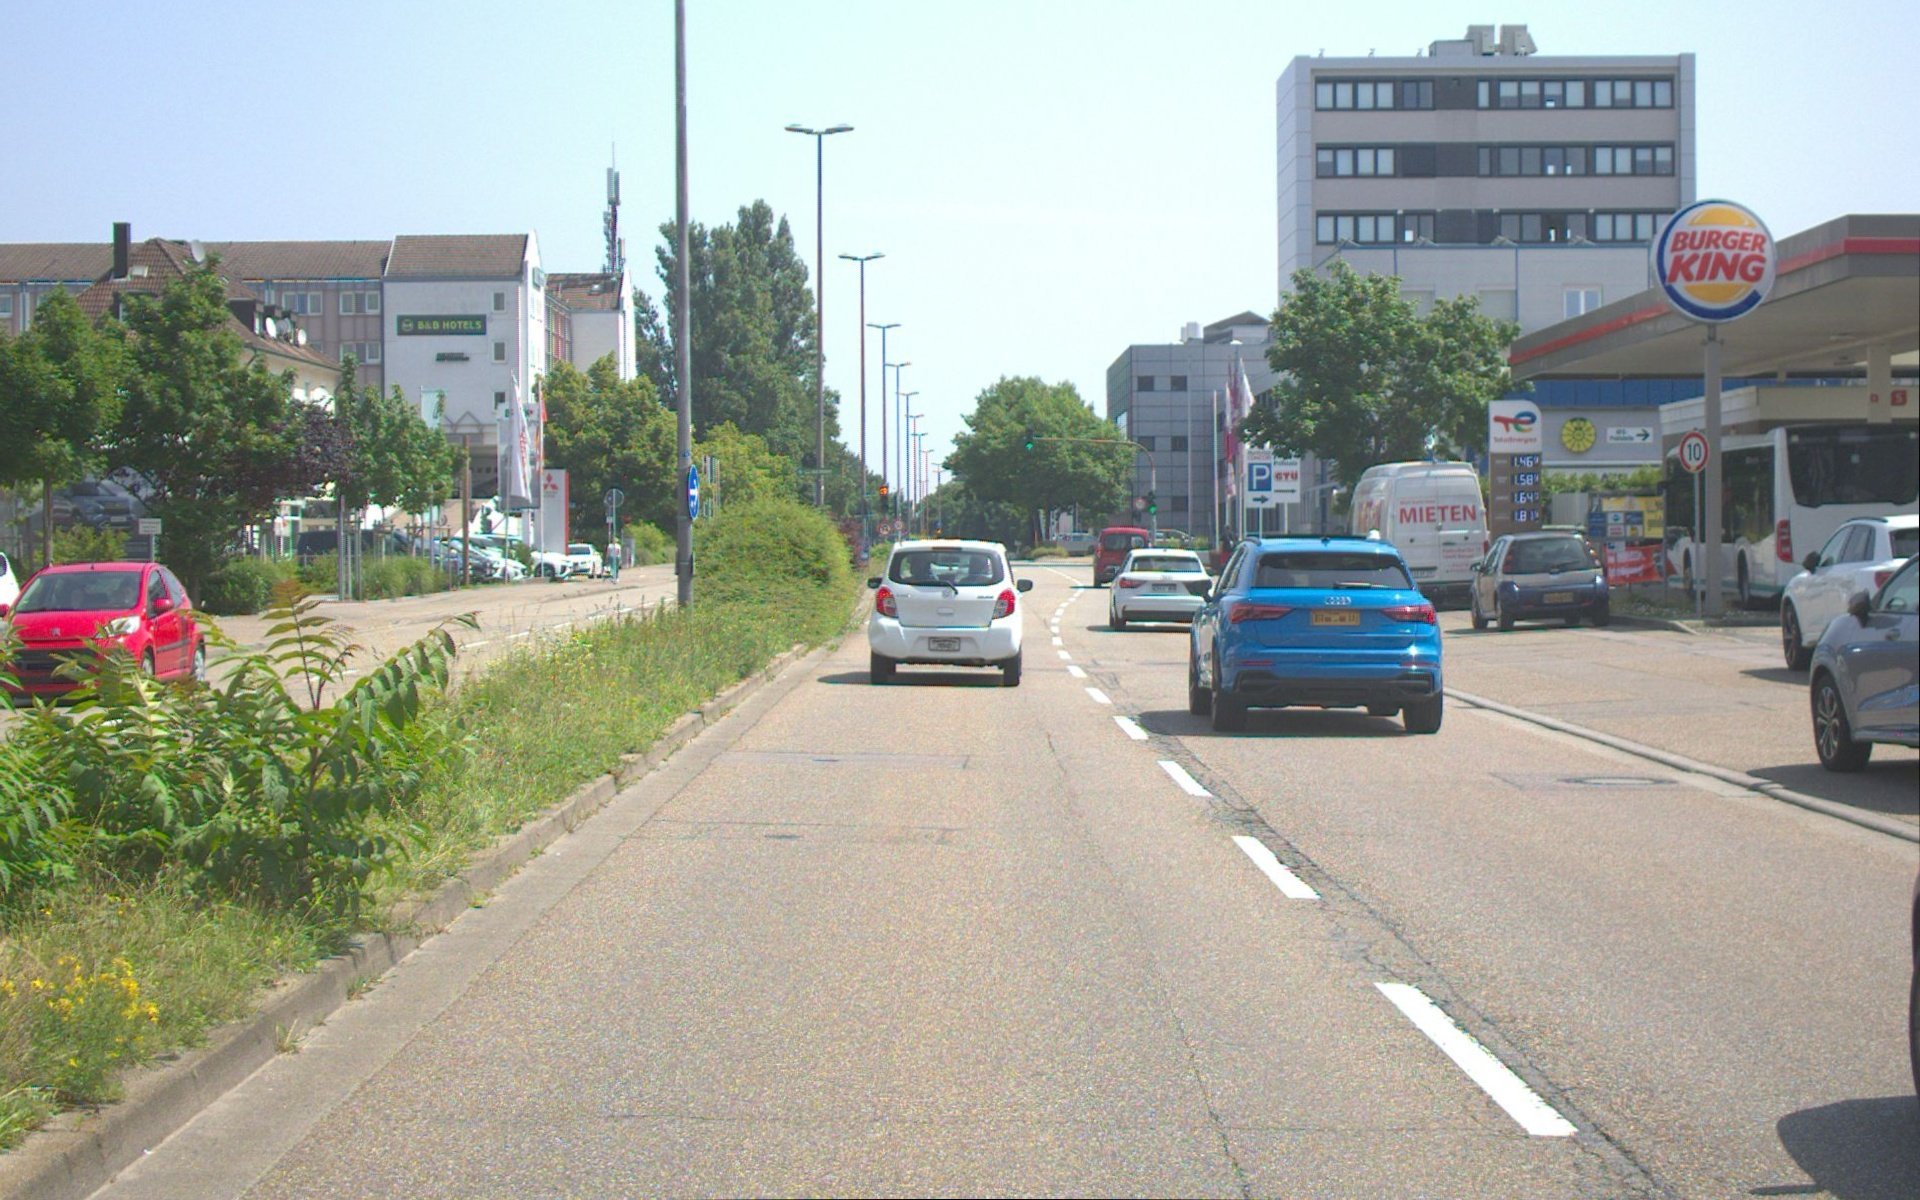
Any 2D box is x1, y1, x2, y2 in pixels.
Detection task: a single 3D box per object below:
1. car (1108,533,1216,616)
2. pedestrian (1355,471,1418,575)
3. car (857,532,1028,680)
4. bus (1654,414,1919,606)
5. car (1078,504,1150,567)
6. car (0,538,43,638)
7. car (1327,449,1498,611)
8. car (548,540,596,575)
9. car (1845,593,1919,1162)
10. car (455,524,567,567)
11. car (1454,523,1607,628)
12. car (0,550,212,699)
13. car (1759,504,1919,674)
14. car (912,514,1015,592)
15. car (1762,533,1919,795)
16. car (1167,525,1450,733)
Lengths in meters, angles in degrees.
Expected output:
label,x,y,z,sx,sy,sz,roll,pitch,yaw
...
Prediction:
label,x,y,z,sx,sy,sz,roll,pitch,yaw
car,3.454,-0.459,59.376,1.667,1.394,3.793,0,1,1
pedestrian,7.731,-1.391,62.375,0.815,1.743,0.703,9,-2,0
car,-0.231,0.051,37.231,1.712,1.505,3.247,1,0,-2
bus,14.663,-1.650,61.146,2.805,3.068,12.284,0,2,3
car,4.538,-1.894,102.001,1.794,1.723,3.973,1,0,-2
car,-15.354,-0.199,52.109,1.679,1.489,4.042,1,-1,2
car,8.624,-1.343,66.203,2.133,2.830,7.309,-3,1,0
car,-16.205,-1.769,143.726,1.901,1.349,4.000,1,-1,-5
car,3.236,0.731,7.503,1.600,1.420,3.661,1,1,-1
car,-17.155,-2.070,131.436,3.987,1.547,1.865,1,-1,3
car,8.735,-0.398,52.878,1.657,1.514,3.820,-2,1,0
car,-8.981,0.237,35.626,1.630,1.419,3.450,-2,0,0
car,9.456,-0.167,34.634,1.667,1.590,4.613,-1,1,-1
car,0.037,-0.909,67.837,1.830,1.445,4.000,1,0,-3
car,6.460,0.366,21.129,1.732,1.547,4.181,0,1,-5
car,2.850,0.193,29.028,1.913,1.591,4.396,1,1,0
